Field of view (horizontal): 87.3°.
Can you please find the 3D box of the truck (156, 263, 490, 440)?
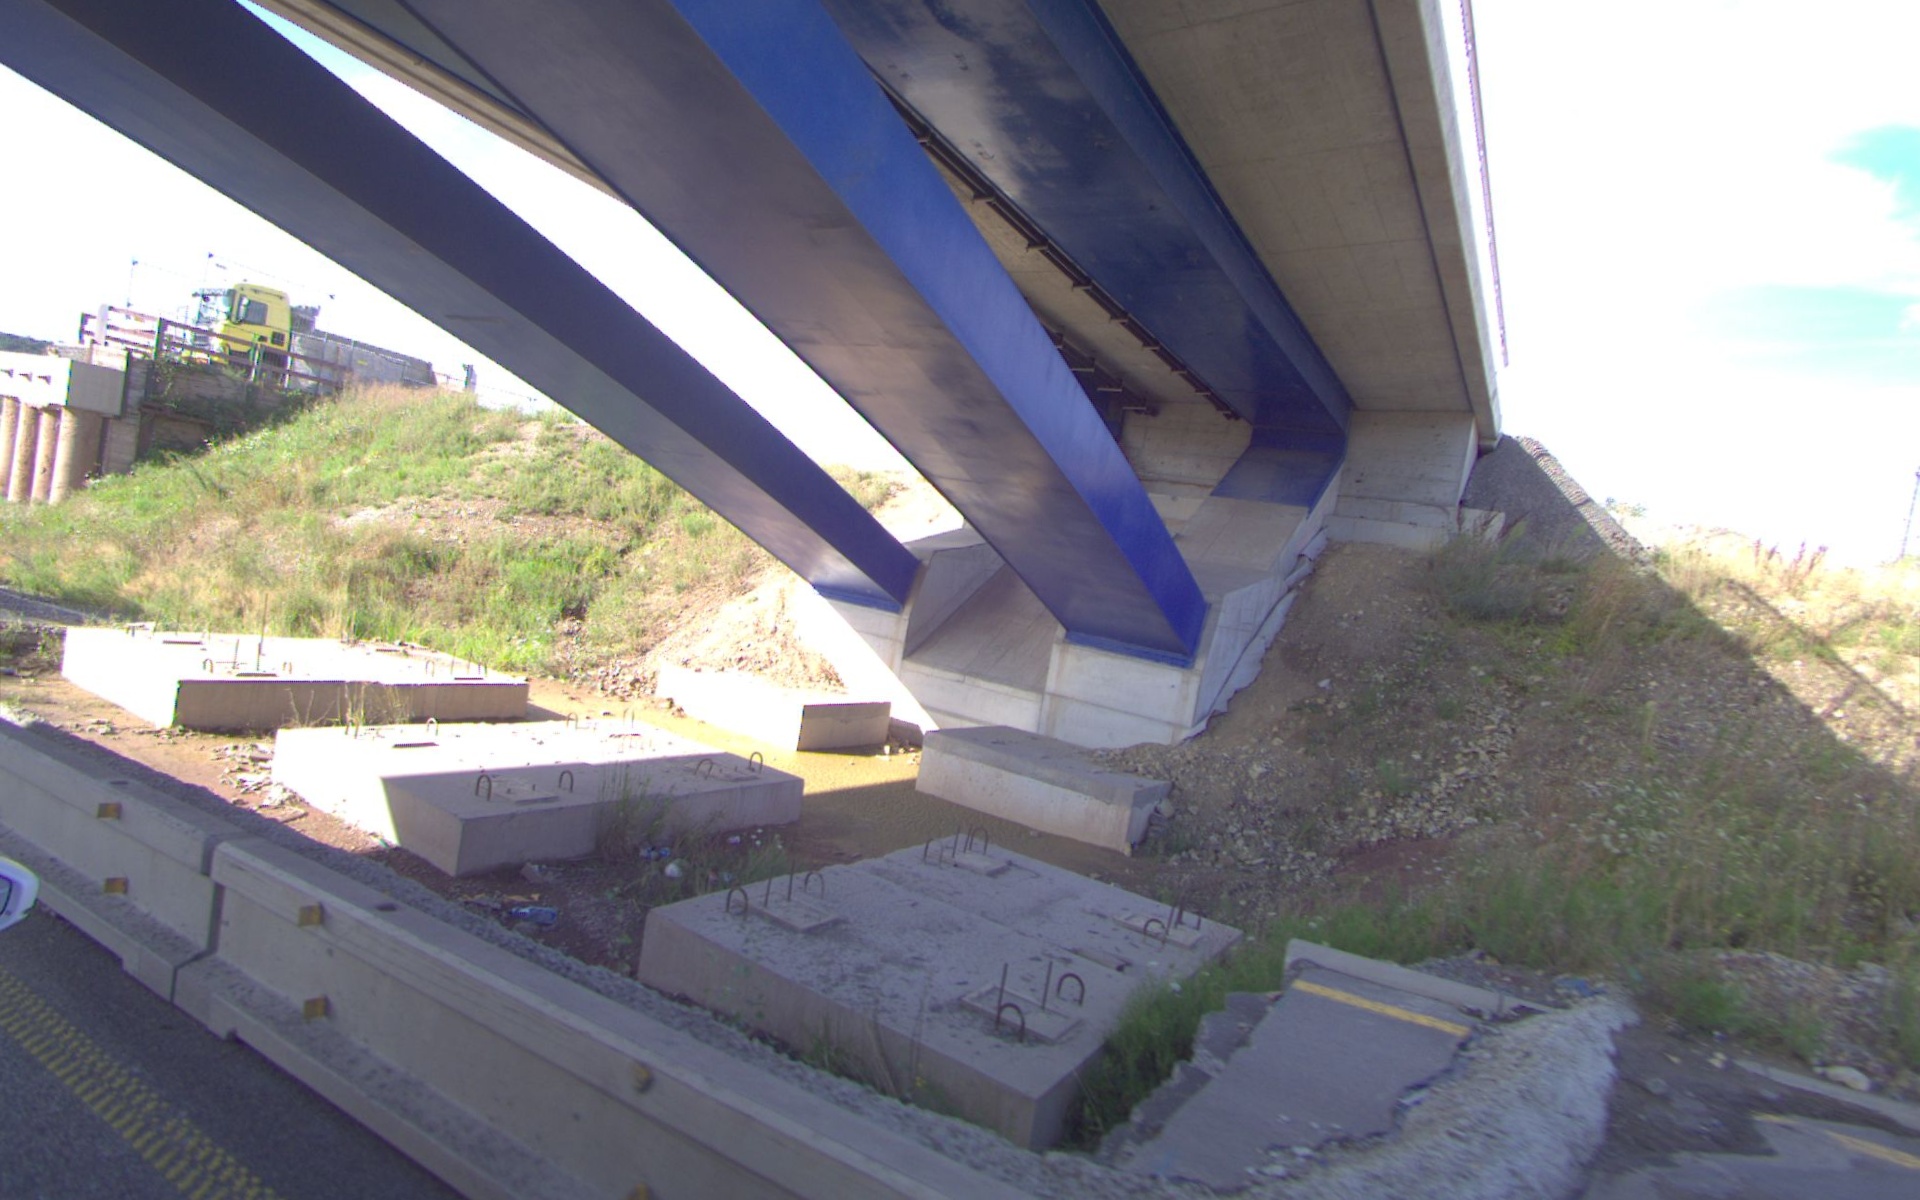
[{"bbox_3d":[-21.671,-8.266,35.056,2.910,3.266,9.280,7,-1,31],"label":"truck"}]
